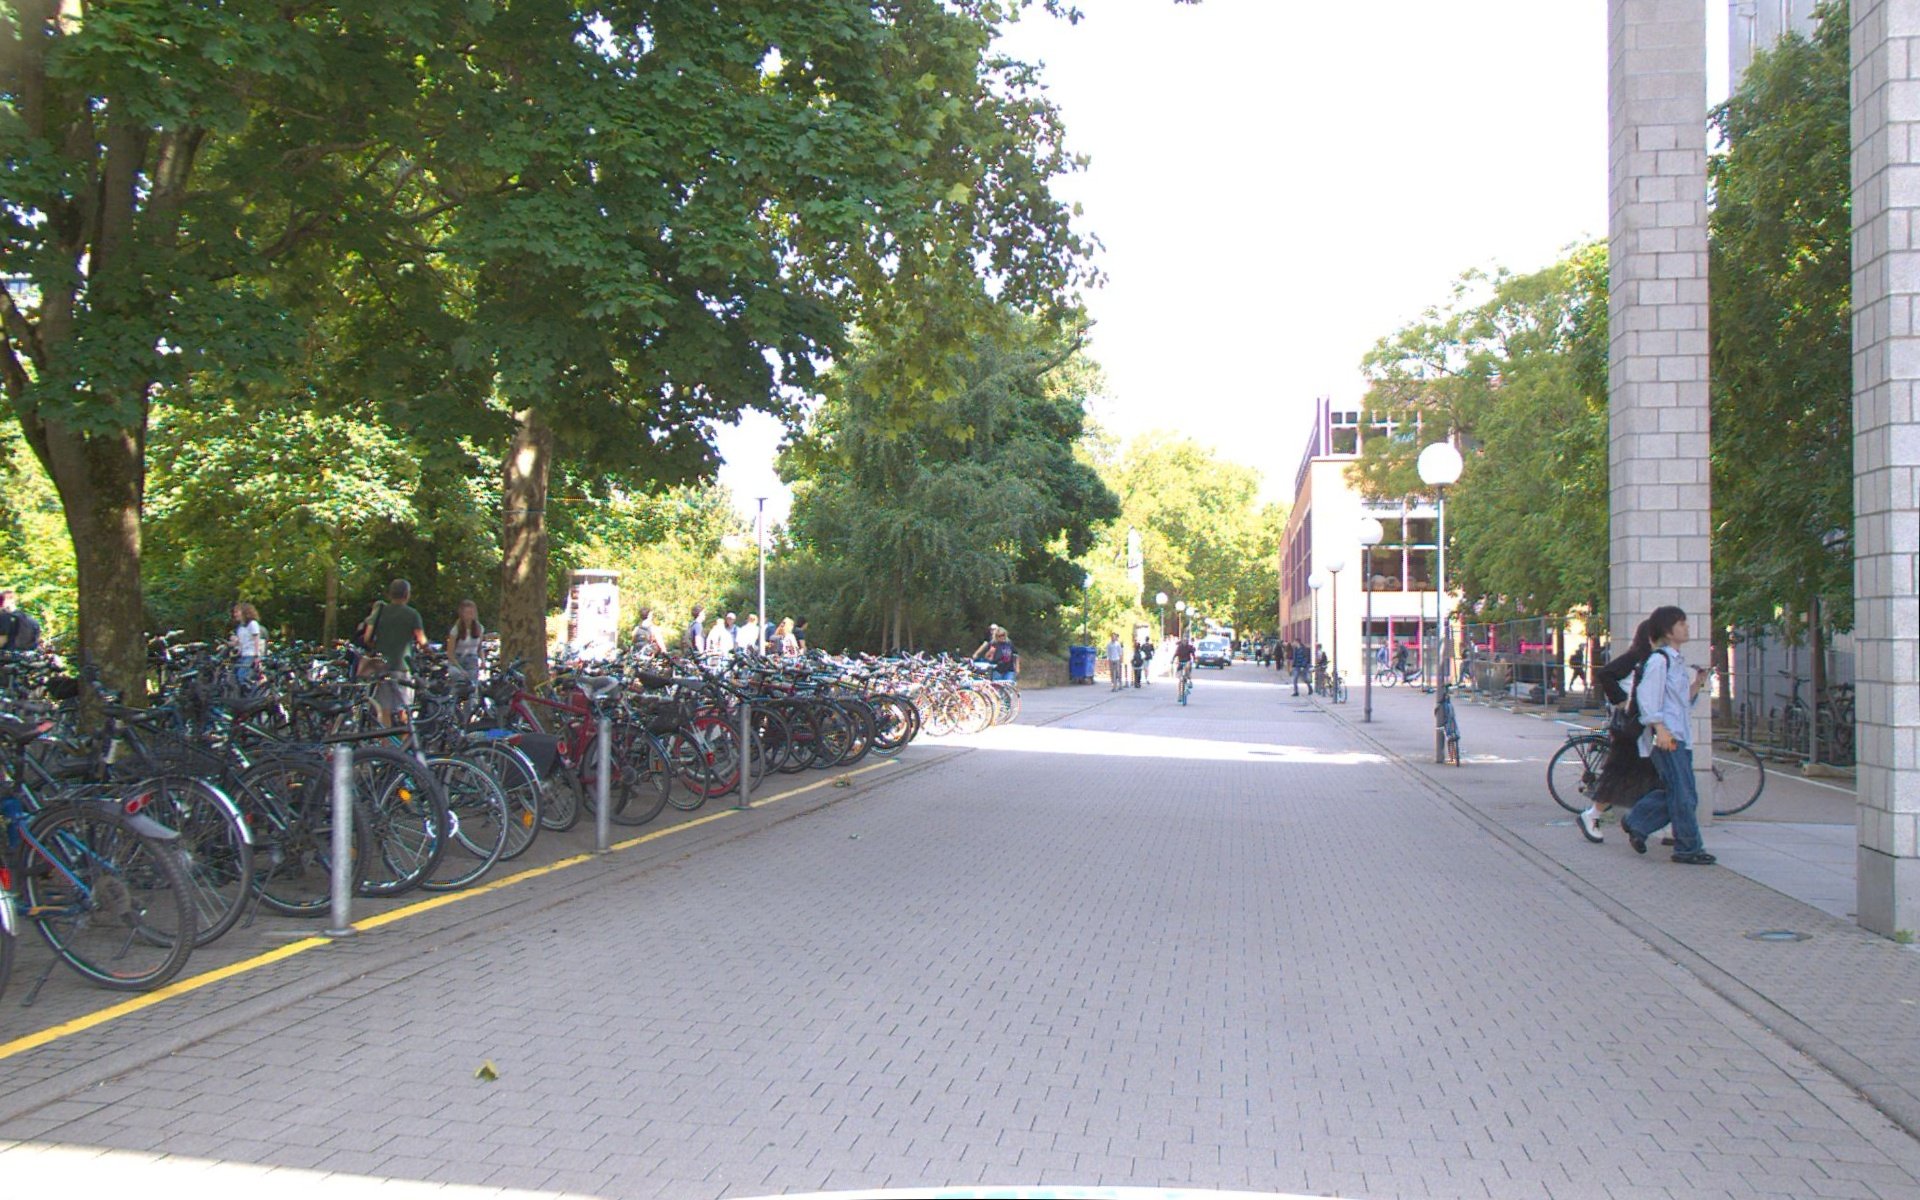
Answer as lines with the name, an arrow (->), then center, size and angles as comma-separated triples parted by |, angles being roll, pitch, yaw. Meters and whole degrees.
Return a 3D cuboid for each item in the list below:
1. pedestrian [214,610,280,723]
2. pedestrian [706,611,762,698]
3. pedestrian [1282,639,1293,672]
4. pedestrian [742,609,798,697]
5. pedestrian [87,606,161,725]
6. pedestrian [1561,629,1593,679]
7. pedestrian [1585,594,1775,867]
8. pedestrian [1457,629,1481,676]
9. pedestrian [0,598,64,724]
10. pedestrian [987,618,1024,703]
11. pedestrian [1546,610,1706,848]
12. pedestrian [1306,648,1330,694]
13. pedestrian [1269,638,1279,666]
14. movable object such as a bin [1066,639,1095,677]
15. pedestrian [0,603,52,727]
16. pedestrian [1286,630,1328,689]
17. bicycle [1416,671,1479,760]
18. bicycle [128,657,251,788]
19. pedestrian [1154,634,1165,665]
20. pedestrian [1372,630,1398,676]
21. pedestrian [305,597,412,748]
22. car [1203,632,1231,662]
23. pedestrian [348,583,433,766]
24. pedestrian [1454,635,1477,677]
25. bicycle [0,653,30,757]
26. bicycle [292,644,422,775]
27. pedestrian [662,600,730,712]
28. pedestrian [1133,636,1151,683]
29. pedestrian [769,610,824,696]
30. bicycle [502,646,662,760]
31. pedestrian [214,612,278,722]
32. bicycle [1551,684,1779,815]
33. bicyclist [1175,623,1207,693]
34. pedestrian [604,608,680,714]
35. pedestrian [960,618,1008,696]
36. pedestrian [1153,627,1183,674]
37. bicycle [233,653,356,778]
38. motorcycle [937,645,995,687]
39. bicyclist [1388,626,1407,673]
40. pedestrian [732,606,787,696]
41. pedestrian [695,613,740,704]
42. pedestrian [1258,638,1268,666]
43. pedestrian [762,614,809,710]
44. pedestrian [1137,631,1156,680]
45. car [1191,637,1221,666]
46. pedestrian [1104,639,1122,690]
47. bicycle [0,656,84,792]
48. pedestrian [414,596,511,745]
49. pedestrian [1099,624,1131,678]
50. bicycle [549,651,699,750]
pedestrian -> -11.034, 1.022, 25.600 | 0.892, 1.709, 0.764 | 1, -1, -24
pedestrian -> -4.882, 1.169, 35.700 | 0.752, 1.835, 0.983 | 0, -1, 27
pedestrian -> 17.336, 2.948, 87.588 | 0.574, 1.702, 0.699 | -1, -3, 11
pedestrian -> -4.059, 1.116, 35.383 | 0.815, 1.847, 0.882 | 0, -1, 24
pedestrian -> -12.351, 0.959, 24.458 | 0.892, 1.709, 0.764 | 1, -1, -24
pedestrian -> 21.792, 1.909, 58.392 | 0.883, 1.759, 0.685 | 0, -4, 5
pedestrian -> 4.735, 0.838, 10.889 | 0.670, 1.699, 0.885 | 1, -4, -43
pedestrian -> 20.545, 2.124, 66.710 | 0.808, 1.876, 0.685 | 1, -2, 7
pedestrian -> -13.648, 0.887, 24.144 | 0.892, 1.806, 0.764 | 1, -1, -24
pedestrian -> 0.927, 1.221, 33.617 | 0.751, 1.709, 0.907 | 0, -1, 2
pedestrian -> 4.811, 0.902, 11.962 | 0.797, 1.646, 0.732 | 1, -2, -33
pedestrian -> 13.198, 2.608, 60.962 | 0.834, 1.680, 0.588 | 0, -2, 17
pedestrian -> 19.438, 3.229, 102.473 | 0.574, 1.702, 0.818 | -1, -3, 11
movable object such as a bin -> 4.418, 2.129, 60.697 | 0.694, 1.360, 1.239 | 2, -1, 19
pedestrian -> -13.319, 0.907, 23.223 | 0.892, 1.709, 0.764 | 1, -1, -24
pedestrian -> 11.270, 1.922, 53.699 | 1.023, 1.890, 0.875 | 2, -2, -40
bicycle -> 6.209, 1.449, 21.131 | 0.525, 1.058, 1.860 | -1, -2, 9
bicycle -> -7.214, 1.115, 15.459 | 0.499, 1.127, 1.672 | 2, -2, -44
pedestrian -> 12.325, 3.074, 102.191 | 0.668, 1.876, 0.783 | 1, -2, 10
pedestrian -> 16.437, 2.049, 63.925 | 0.883, 1.759, 0.685 | -1, -4, 20
pedestrian -> -7.095, 0.842, 19.534 | 0.752, 1.733, 0.907 | 0, -1, 23
car -> 18.009, 3.250, 115.654 | 1.843, 2.009, 5.218 | 0, -1, 9
pedestrian -> -5.889, 0.762, 17.097 | 0.757, 1.838, 0.704 | 1, -1, -24
pedestrian -> 20.177, 2.233, 65.983 | 0.764, 1.649, 0.685 | 1, -2, 7
bicycle -> -10.738, 1.154, 18.532 | 0.467, 1.102, 1.684 | 2, -2, -28
bicycle -> -6.012, 1.056, 16.450 | 0.571, 1.221, 1.672 | 2, -2, -44
pedestrian -> -4.515, 0.940, 28.287 | 0.674, 1.867, 0.935 | -1, -1, 43
pedestrian -> 6.356, 2.079, 57.808 | 0.557, 1.639, 0.919 | 1, -2, 8
pedestrian -> -3.422, 1.110, 34.605 | 0.897, 1.754, 0.675 | 3, -2, -45
bicycle -> -4.242, 1.147, 18.610 | 1.660, 1.241, 0.502 | 1, -2, -2
pedestrian -> -11.359, 1.058, 26.334 | 0.892, 1.709, 0.764 | 1, -1, -24
bicycle -> 5.916, 1.253, 13.930 | 1.702, 1.057, 0.450 | -1, 0, 5
bicyclist -> 5.846, 1.472, 41.914 | 0.755, 1.746, 0.911 | -1, -3, 7
pedestrian -> -5.407, 1.020, 28.135 | 0.706, 1.754, 1.058 | -1, -1, 42
pedestrian -> 0.595, 1.388, 40.397 | 0.604, 1.868, 1.042 | -1, -2, 45
pedestrian -> 8.594, 2.103, 68.223 | 0.714, 1.914, 1.075 | -1, -3, 44
bicycle -> -6.471, 1.090, 16.038 | 0.499, 1.127, 1.672 | 2, -2, -44
motorcycle -> 0.154, 1.827, 45.923 | 0.469, 1.065, 1.999 | 2, -1, -37
bicyclist -> 16.476, 1.874, 62.296 | 0.649, 1.746, 0.589 | 0, -2, 17
pedestrian -> -3.962, 0.998, 32.643 | 0.922, 1.754, 0.672 | 0, -1, -24
pedestrian -> -4.760, 1.137, 32.446 | 0.676, 1.754, 0.725 | 0, -1, -27
pedestrian -> 18.469, 3.156, 100.864 | 0.574, 1.702, 0.818 | -1, -3, 11
pedestrian -> -3.246, 1.144, 30.862 | 0.669, 1.754, 0.732 | 1, -1, 8
pedestrian -> 7.244, 2.152, 64.103 | 0.668, 1.876, 0.783 | 1, -2, 10
car -> 15.206, 3.158, 102.169 | 1.752, 1.793, 4.484 | 0, -1, 9
pedestrian -> 5.875, 2.485, 63.665 | 0.668, 1.906, 1.121 | 1, -2, 5
bicycle -> -8.319, 1.075, 14.782 | 0.498, 1.127, 1.675 | 2, -2, -40
pedestrian -> -5.978, 0.834, 19.880 | 0.764, 1.733, 0.892 | 2, -2, -45
pedestrian -> 5.500, 1.819, 58.839 | 0.770, 1.878, 1.113 | 2, -1, -15
bicycle -> -3.972, 1.187, 19.638 | 1.660, 1.127, 0.502 | 1, -2, -2
